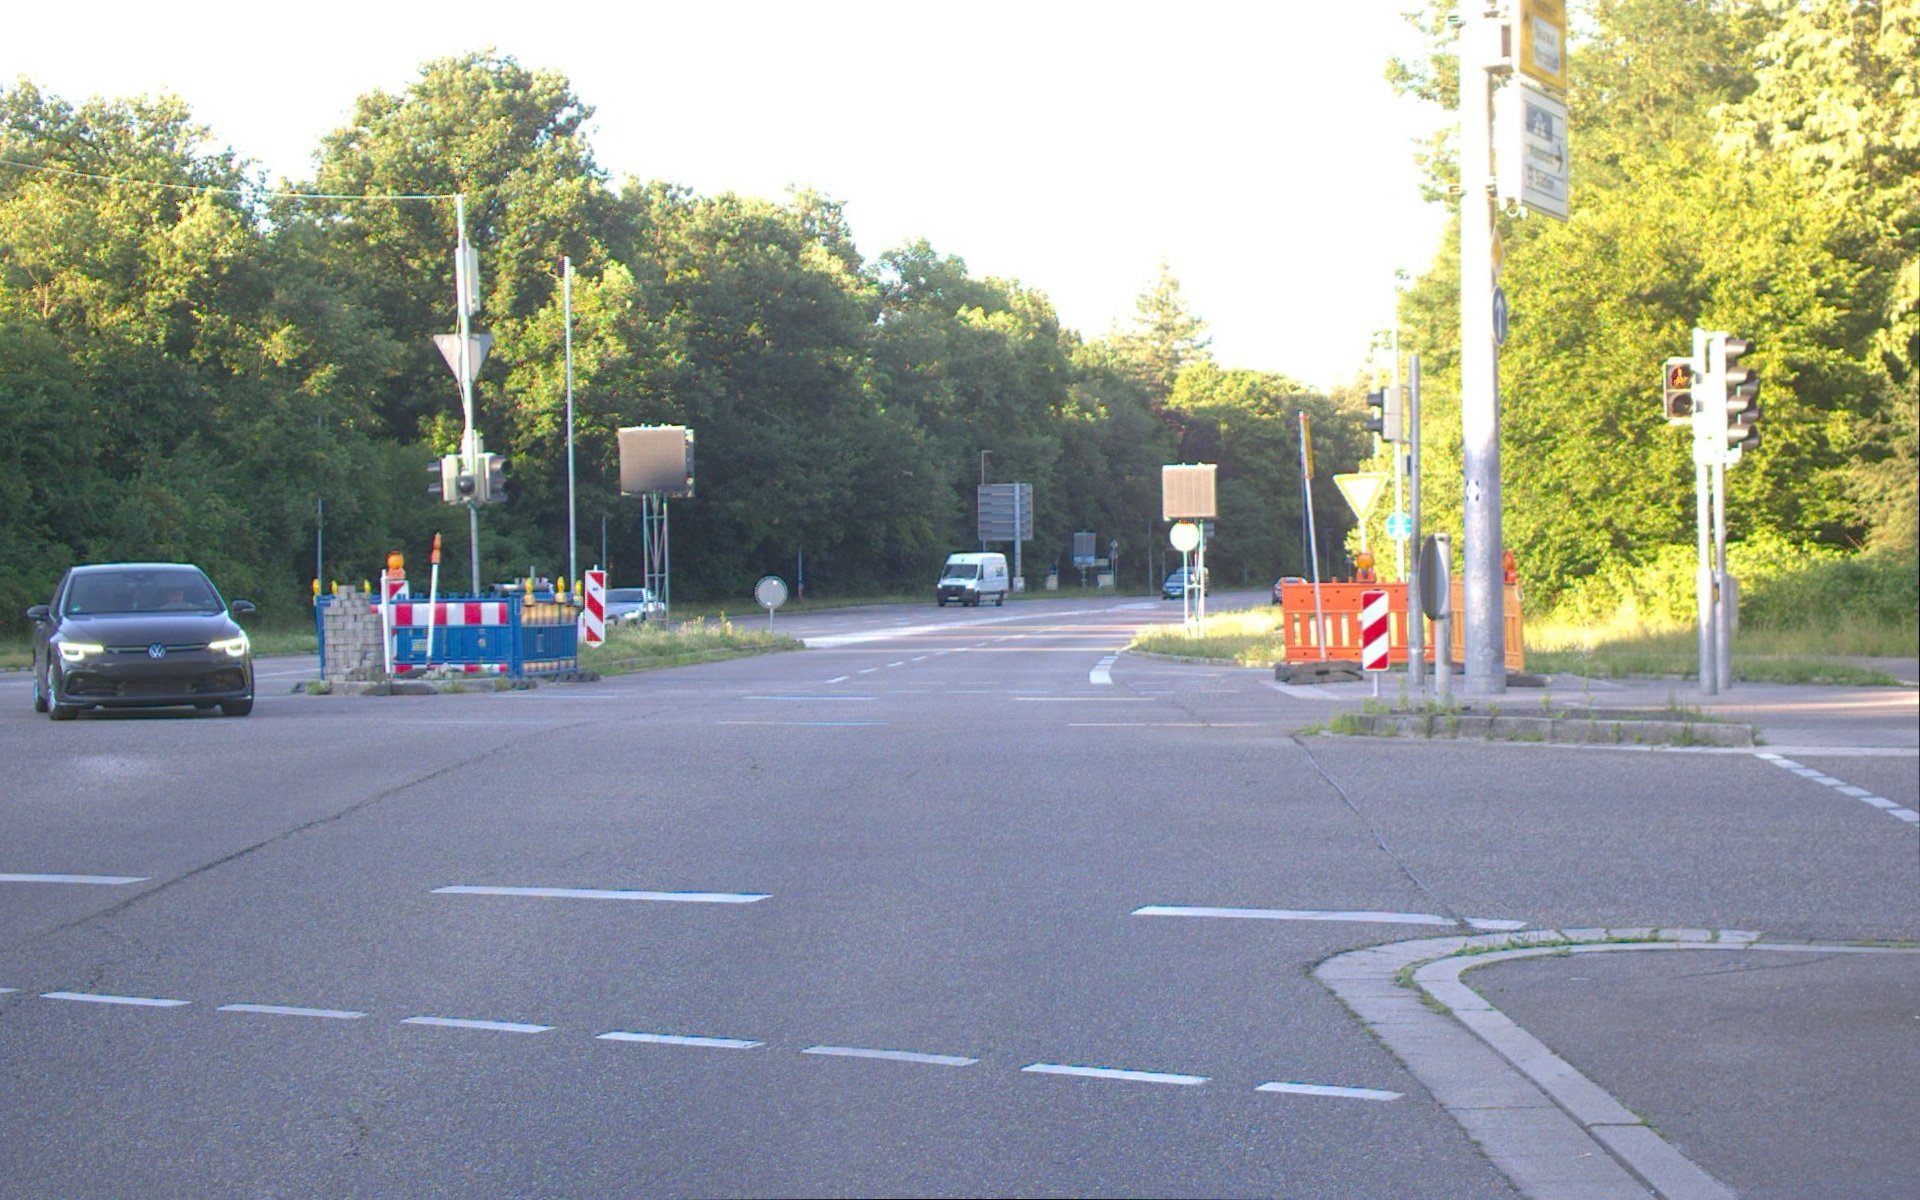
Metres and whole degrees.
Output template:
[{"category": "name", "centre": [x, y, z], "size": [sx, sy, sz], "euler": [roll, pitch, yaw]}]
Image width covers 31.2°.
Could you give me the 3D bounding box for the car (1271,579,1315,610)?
[{"category": "car", "centre": [17.950, -0.294, 185.146], "size": [1.994, 1.612, 3.998], "euler": [0, 1, 11]}]

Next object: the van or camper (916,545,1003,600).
[{"category": "van or camper", "centre": [0.010, -1.411, 171.123], "size": [2.887, 2.643, 7.118], "euler": [0, 1, 12]}]

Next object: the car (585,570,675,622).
[{"category": "car", "centre": [-9.444, -0.118, 98.638], "size": [1.994, 1.415, 4.000], "euler": [-1, 1, 3]}]

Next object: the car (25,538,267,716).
[{"category": "car", "centre": [-7.730, 0.199, 32.356], "size": [1.993, 1.524, 4.680], "euler": [-1, 1, -16]}]
